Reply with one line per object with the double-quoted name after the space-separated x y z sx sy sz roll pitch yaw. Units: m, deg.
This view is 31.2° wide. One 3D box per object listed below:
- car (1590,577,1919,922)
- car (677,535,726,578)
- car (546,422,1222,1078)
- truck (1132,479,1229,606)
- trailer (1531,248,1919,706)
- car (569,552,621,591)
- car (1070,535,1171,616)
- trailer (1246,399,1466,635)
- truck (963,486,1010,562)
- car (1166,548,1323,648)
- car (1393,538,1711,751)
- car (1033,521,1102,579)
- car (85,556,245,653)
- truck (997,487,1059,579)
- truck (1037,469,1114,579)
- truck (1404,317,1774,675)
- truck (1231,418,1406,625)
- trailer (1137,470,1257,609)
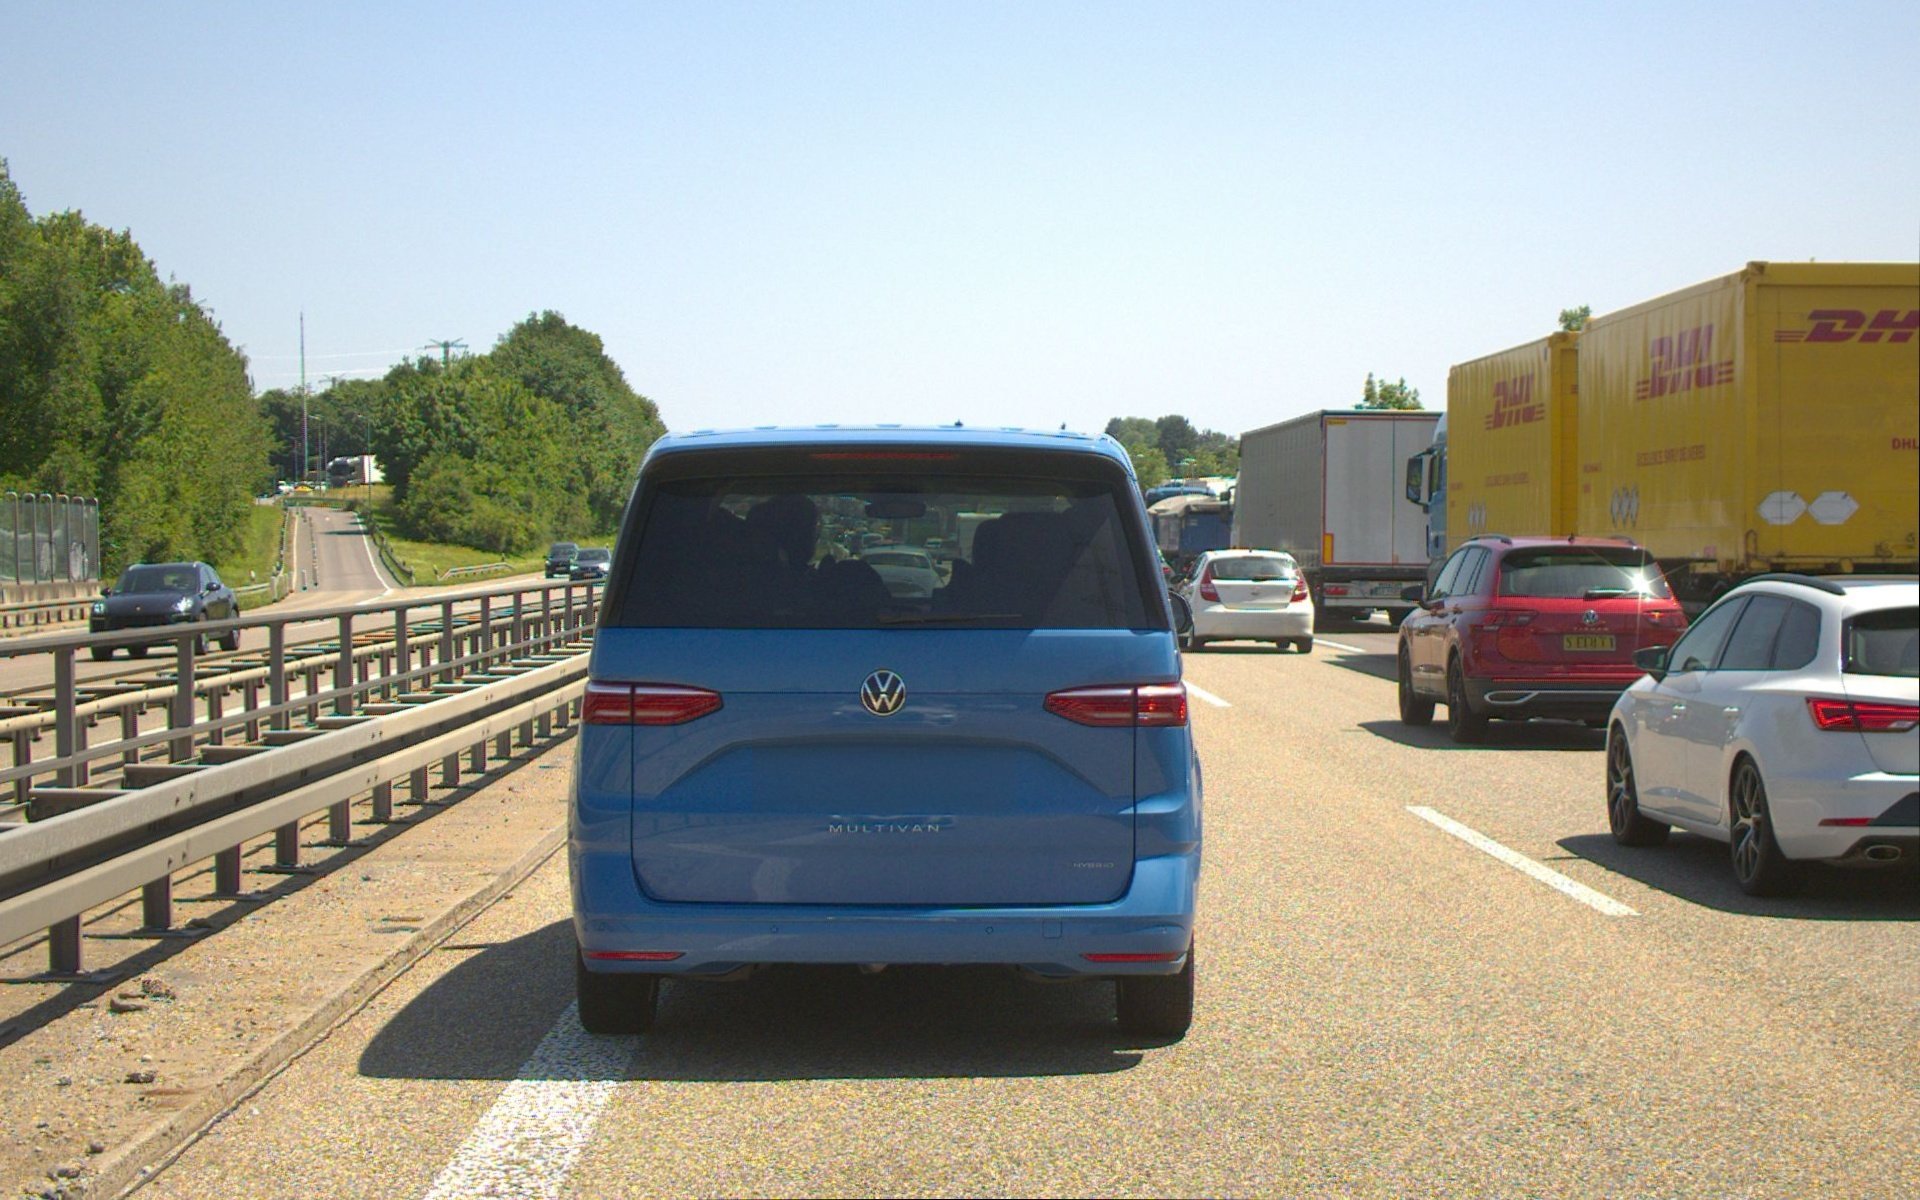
4.277 0.606 16.239 1.781 1.382 4.188 0 1 -1 "car"
-10.851 -1.836 144.419 1.754 1.715 4.101 -1 1 -1 "car"
-0.234 0.392 11.617 1.882 1.831 4.000 0 1 -1 "car"
6.661 -1.705 104.423 2.367 3.709 6.034 1 0 -1 "truck"
7.942 -1.103 34.783 2.701 4.010 8.931 1 0 -1 "trailer"
-15.294 -1.189 144.275 1.754 1.542 4.000 -2 0 -1 "car"
3.267 -0.510 70.467 1.715 1.581 3.821 -1 1 -2 "car"
7.512 -1.505 66.762 2.755 4.132 11.312 1 0 -1 "trailer"
1.909 -5.519 254.050 2.833 5.354 12.556 1 0 -2 "truck"
4.148 -0.055 50.655 1.838 1.409 4.000 0 1 -2 "car"
4.713 0.299 27.906 1.851 1.603 4.000 0 1 -1 "car"
2.954 -1.376 95.002 1.715 1.535 3.821 -1 1 -1 "car"
-13.855 0.050 60.121 1.780 1.563 4.387 -2 1 -1 "car"
3.852 -3.756 197.129 2.833 5.023 11.818 1 0 -2 "truck"
5.454 -3.534 164.460 2.833 5.023 11.147 1 0 -2 "truck"
7.847 -1.218 44.433 2.722 4.041 10.336 1 0 -1 "truck"
7.442 -1.585 72.189 2.768 4.081 6.984 1 0 -1 "truck"
6.724 -1.671 98.905 2.379 3.731 11.189 1 0 -1 "trailer"
